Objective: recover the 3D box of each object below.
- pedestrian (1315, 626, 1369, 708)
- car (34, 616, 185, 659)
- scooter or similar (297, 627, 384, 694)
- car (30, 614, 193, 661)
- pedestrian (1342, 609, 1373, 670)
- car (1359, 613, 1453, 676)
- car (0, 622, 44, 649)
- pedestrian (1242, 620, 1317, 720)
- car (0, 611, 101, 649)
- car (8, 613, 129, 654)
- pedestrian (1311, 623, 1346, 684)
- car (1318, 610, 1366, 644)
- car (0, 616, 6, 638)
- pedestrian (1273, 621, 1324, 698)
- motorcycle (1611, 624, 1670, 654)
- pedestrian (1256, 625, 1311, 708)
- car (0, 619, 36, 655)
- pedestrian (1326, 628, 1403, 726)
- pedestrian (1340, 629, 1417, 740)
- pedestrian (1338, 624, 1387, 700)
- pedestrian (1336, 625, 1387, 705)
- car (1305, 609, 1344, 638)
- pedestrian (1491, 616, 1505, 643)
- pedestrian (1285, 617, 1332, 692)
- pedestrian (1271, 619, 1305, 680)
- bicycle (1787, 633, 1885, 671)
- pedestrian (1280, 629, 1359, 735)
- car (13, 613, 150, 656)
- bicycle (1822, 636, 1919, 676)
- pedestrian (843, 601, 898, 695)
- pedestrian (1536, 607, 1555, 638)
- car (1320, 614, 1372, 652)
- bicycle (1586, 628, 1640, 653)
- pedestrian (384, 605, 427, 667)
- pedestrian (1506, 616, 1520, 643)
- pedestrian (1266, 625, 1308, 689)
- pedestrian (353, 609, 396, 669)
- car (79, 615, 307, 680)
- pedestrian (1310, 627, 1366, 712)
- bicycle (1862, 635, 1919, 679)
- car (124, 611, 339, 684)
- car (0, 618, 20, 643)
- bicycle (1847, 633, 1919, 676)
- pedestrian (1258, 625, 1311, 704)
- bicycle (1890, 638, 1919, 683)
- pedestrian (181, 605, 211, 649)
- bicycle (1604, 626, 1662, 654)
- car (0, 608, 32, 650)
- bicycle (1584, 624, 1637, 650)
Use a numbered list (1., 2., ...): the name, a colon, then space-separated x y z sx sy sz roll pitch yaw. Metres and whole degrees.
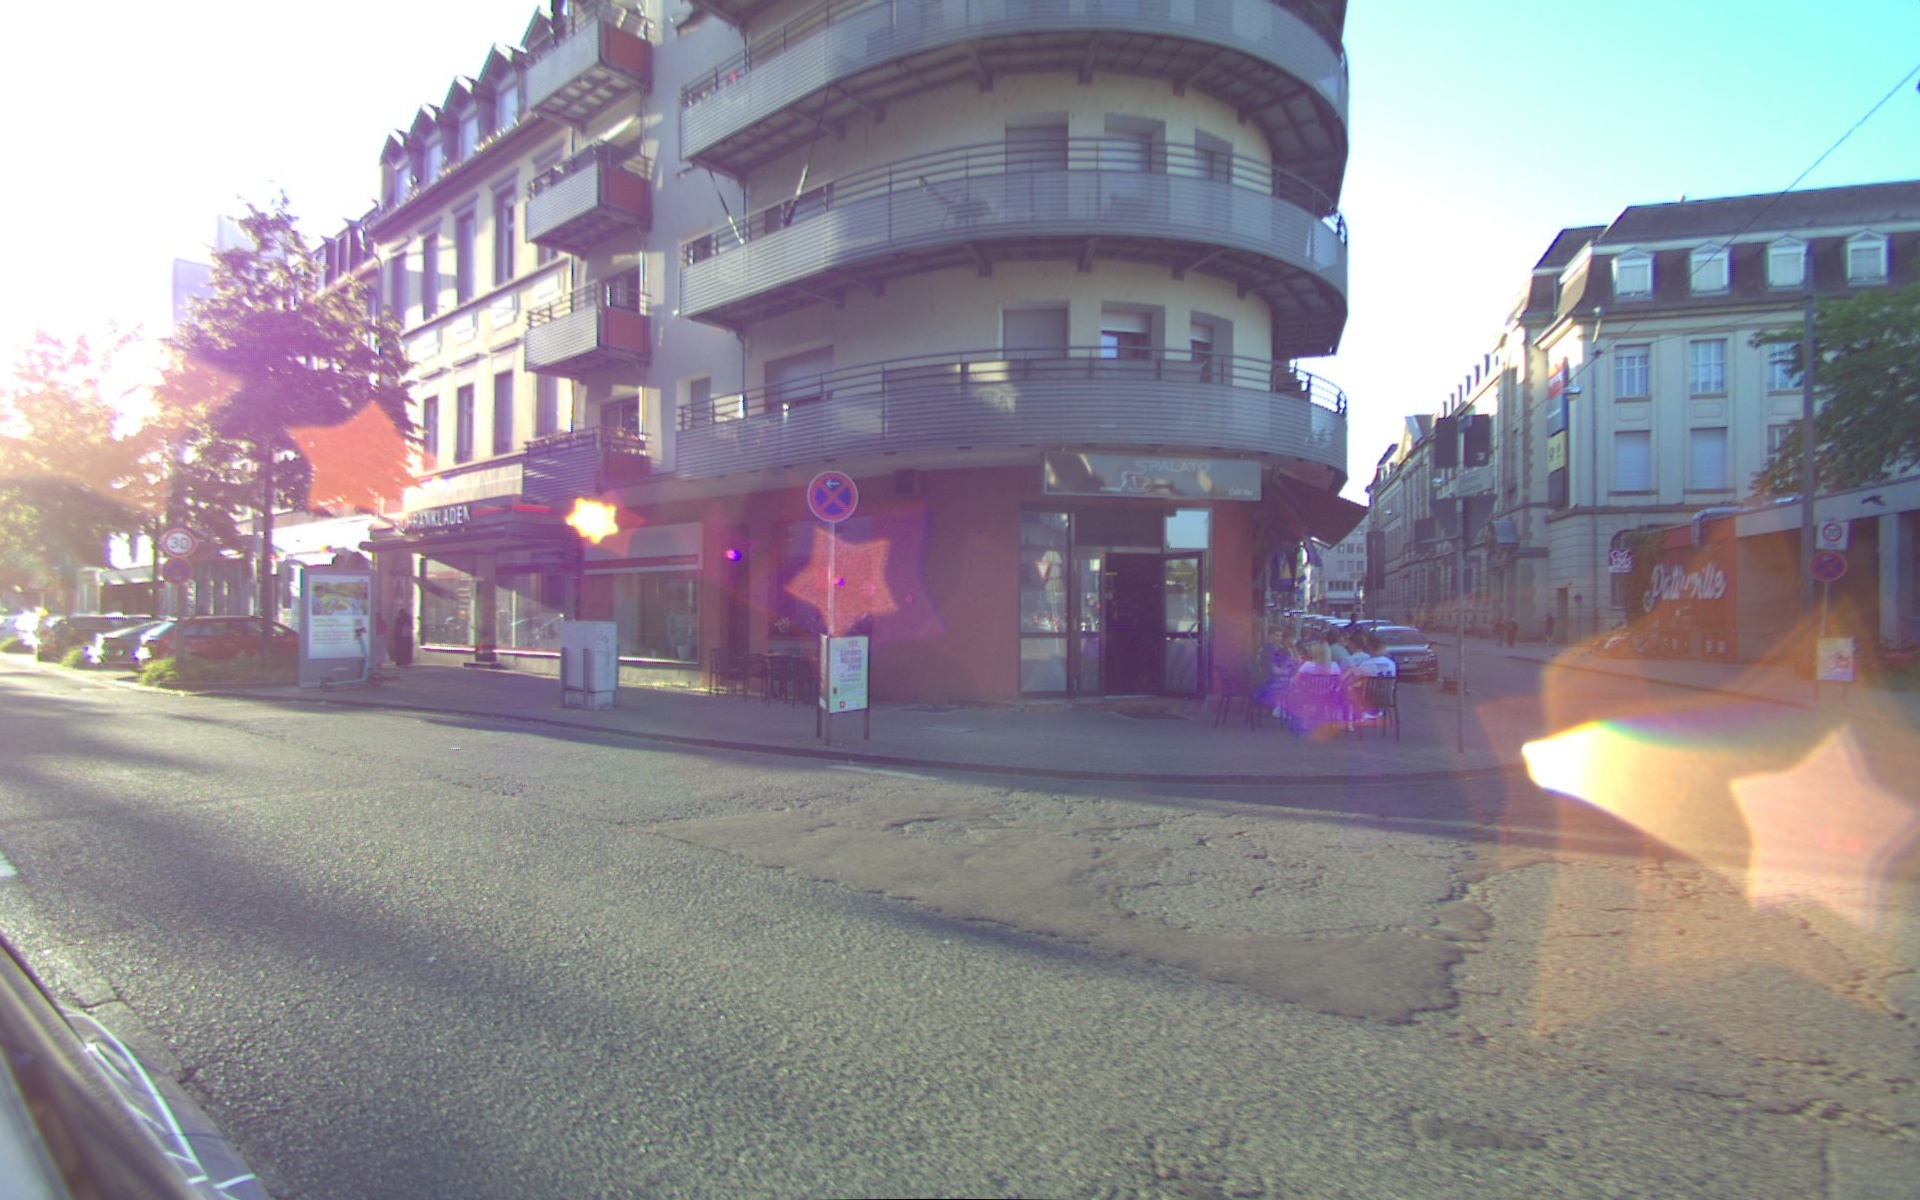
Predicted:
1. pedestrian: 6.193 1.065 16.410 0.699 1.256 0.615 1 0 32
2. car: -31.245 1.328 37.263 1.843 1.414 4.053 -1 0 42
3. scooter or similar: -12.355 1.192 20.216 0.525 1.235 1.385 -1 0 38
4. car: -29.503 1.271 35.274 1.882 1.414 4.067 -1 0 38
5. pedestrian: 9.838 0.959 25.053 0.616 1.480 0.698 1 0 15
6. car: 12.482 1.192 28.566 1.954 1.608 3.977 -1 -1 17
7. car: -53.996 2.009 56.400 1.743 1.495 4.230 -1 0 41
8. pedestrian: 4.584 0.972 14.506 0.827 1.358 0.740 1 0 35
9. car: -42.507 1.373 46.487 1.888 1.608 4.362 -2 0 40
10. car: -36.655 1.330 41.668 1.714 1.513 3.521 -1 0 39
11. pedestrian: 8.153 1.172 22.410 0.696 1.297 0.618 1 0 20
12. car: 18.913 1.303 50.259 1.954 1.608 3.977 -1 -1 17
13. car: -66.170 1.865 67.239 1.742 1.468 3.829 -1 0 38
14. pedestrian: 5.937 1.023 17.752 0.699 1.297 0.650 1 0 32
15. motorcycle: 26.251 1.504 39.066 1.791 1.087 0.507 -2 -1 21
16. pedestrian: 5.175 1.048 16.202 0.699 1.256 0.615 1 0 32
17. car: -40.334 1.548 40.976 1.765 1.432 4.109 -1 0 38
18. pedestrian: 5.535 1.023 13.834 0.827 1.256 0.715 1 0 35
19. pedestrian: 5.191 1.018 12.529 0.746 1.283 0.820 1 0 32
20. pedestrian: 7.150 1.082 17.961 0.699 1.297 0.615 1 0 32
21. pedestrian: 6.797 1.080 17.137 0.699 1.297 0.615 1 0 32
22. car: 21.763 1.383 60.550 1.954 1.608 3.977 -1 -1 17
23. pedestrian: 28.521 1.555 53.672 0.537 1.407 0.383 -1 -1 14
24. pedestrian: 6.463 0.988 18.773 0.699 1.343 0.615 1 0 32
25. pedestrian: 7.261 1.083 22.406 0.696 1.297 0.618 1 0 20
26. bicycle: 22.396 1.310 25.904 0.502 0.930 1.809 -1 -1 -36
27. pedestrian: 4.582 1.014 12.869 0.765 1.251 0.890 1 0 32
28. car: -33.730 1.301 38.929 1.803 1.455 3.702 -1 0 38
29. bicycle: 21.758 1.331 24.096 1.791 0.930 0.507 -2 -1 21
30. pedestrian: -1.570 0.824 17.805 0.751 1.607 0.590 1 0 42
31. pedestrian: 31.281 1.190 54.051 0.837 1.610 0.729 -1 -1 29
32. car: 17.480 1.472 45.981 1.954 1.608 3.977 -1 -1 17
33. bicycle: 26.919 1.672 41.727 1.794 1.016 0.506 -2 -1 25
34. pedestrian: -15.082 0.968 27.519 0.875 1.619 0.764 1 2 41
35. pedestrian: 29.139 1.574 53.328 0.514 1.407 0.397 -1 -1 14
36. pedestrian: 6.595 1.133 20.412 0.698 1.234 0.616 1 0 28
37. pedestrian: -15.585 1.026 26.948 0.875 1.539 0.726 1 2 41
38. car: -20.205 1.195 26.837 1.820 1.418 4.525 -1 0 39
39. pedestrian: 5.889 1.063 15.764 0.699 1.256 0.615 1 0 32
40. bicycle: 21.240 1.261 22.462 1.785 0.930 0.509 -1 -1 11
41. car: -18.089 1.111 25.273 1.883 1.548 4.031 -1 0 41
42. car: -61.989 1.970 63.756 1.742 1.579 3.829 -1 0 38
43. bicycle: 21.573 1.246 23.224 1.785 0.930 0.509 -1 -1 11
44. pedestrian: 5.417 1.051 16.868 0.699 1.256 0.615 1 0 32
45. bicycle: 21.228 1.280 21.768 1.783 0.930 0.509 -1 -1 8
46. pedestrian: -30.507 1.067 40.426 0.875 1.734 0.764 1 2 41
47. bicycle: 26.457 1.578 39.830 1.793 1.087 0.507 -2 -1 24
48. car: -42.212 1.280 42.809 1.888 1.786 4.109 -1 0 38
49. bicycle: 27.127 1.549 42.234 1.794 1.016 0.506 -2 -1 25
